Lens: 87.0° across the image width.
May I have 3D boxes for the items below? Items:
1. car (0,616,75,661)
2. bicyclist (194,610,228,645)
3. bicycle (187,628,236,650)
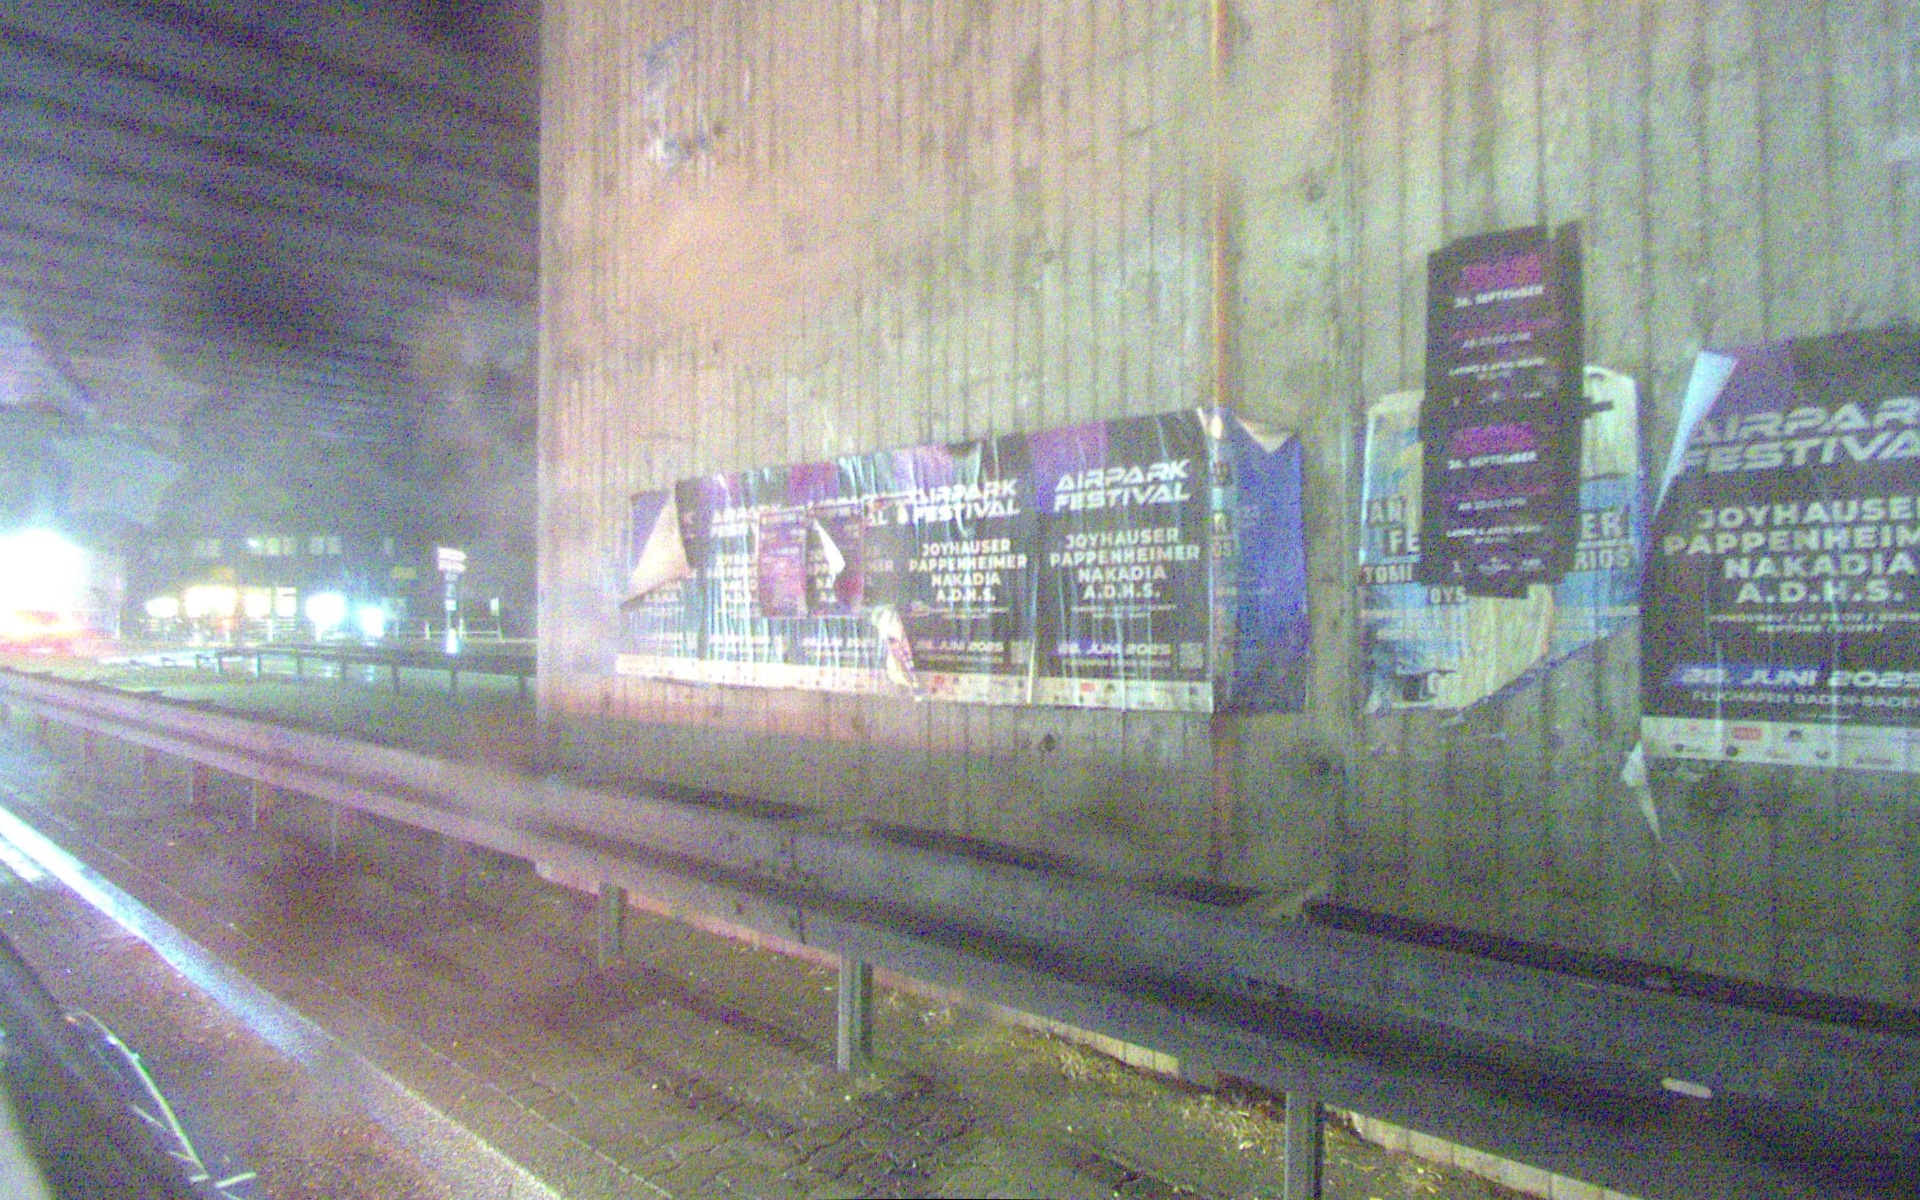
[{"bbox_3d":[-32.998,1.315,35.617,4.415,1.475,1.809,0,-1,35],"label":"car"},{"bbox_3d":[-31.629,1.153,42.755,1.181,1.446,0.624,0,-2,24],"label":"bicyclist"},{"bbox_3d":[-31.626,1.652,42.751,2.200,0.912,0.623,0,-2,24],"label":"bicycle"}]
